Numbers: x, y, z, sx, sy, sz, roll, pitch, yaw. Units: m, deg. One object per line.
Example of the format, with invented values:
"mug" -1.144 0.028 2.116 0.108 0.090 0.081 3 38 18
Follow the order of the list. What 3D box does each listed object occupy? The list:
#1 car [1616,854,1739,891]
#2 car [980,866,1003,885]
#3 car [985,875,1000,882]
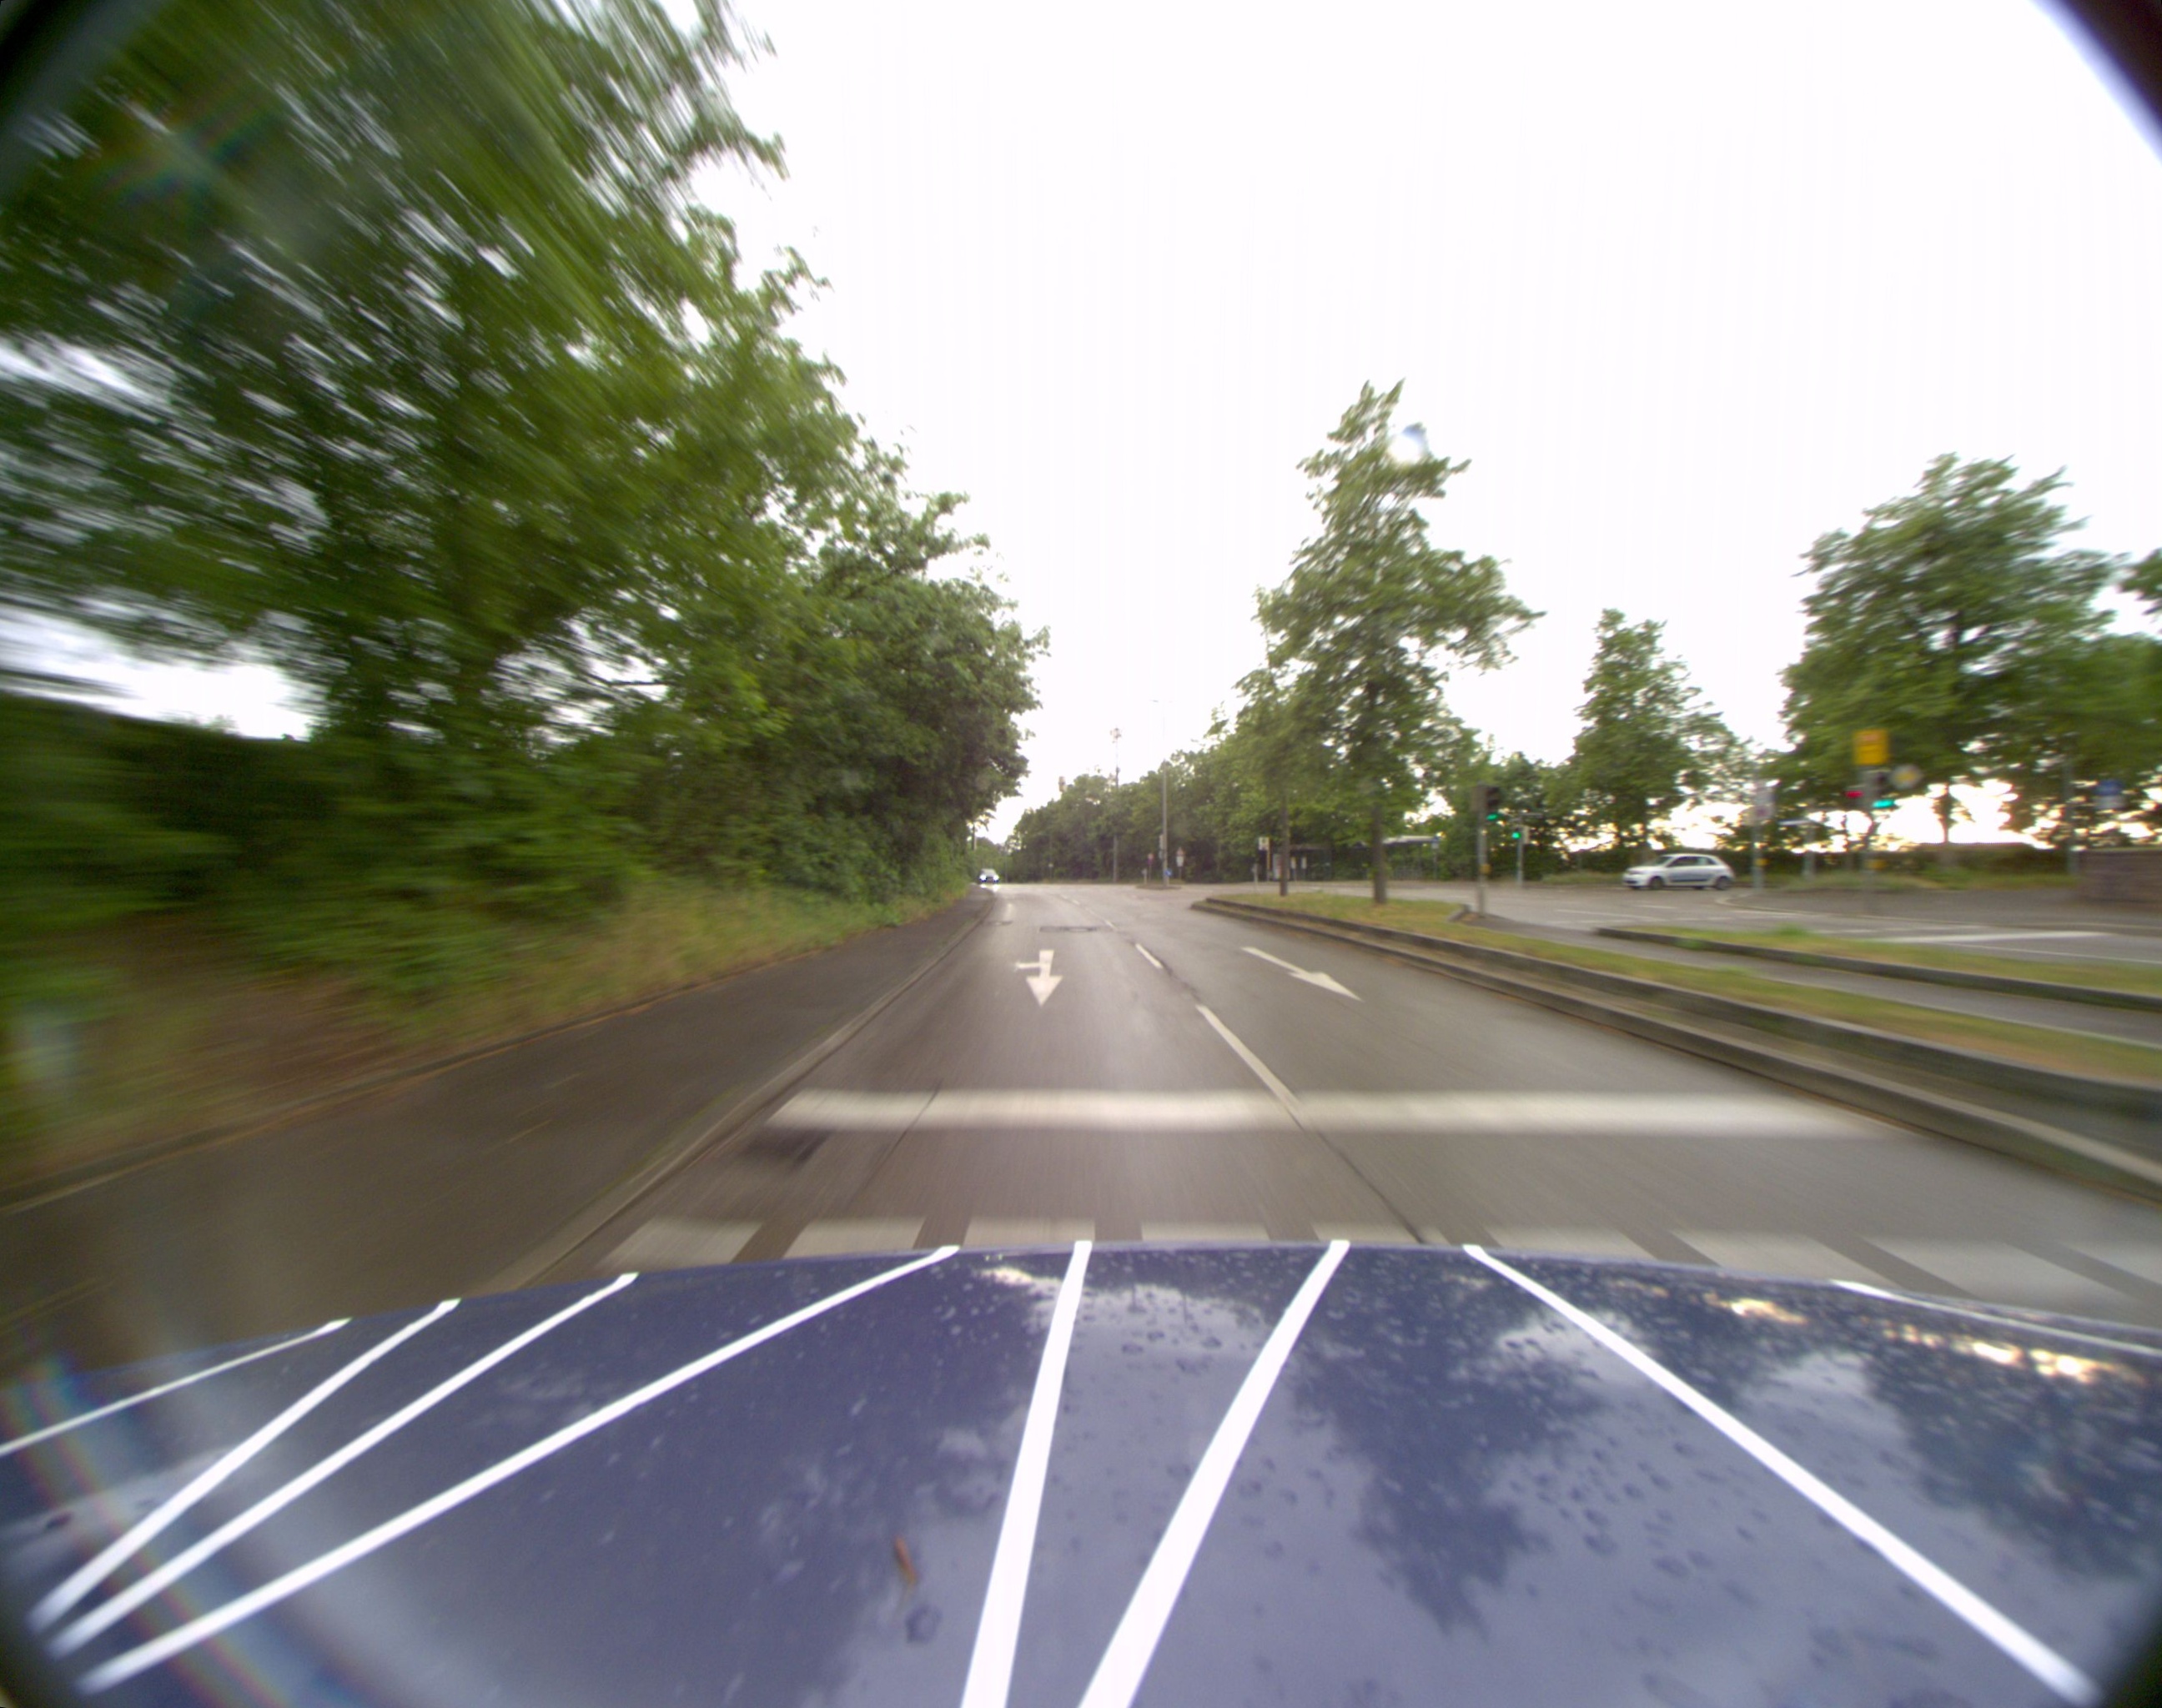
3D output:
"car" 25.242 0.793 32.277 3.691 1.469 1.763 -1 0 11
"car" -8.421 2.054 71.323 2.000 1.576 3.999 2 -3 -8
"car" -15.911 4.439 136.789 1.883 1.365 4.379 1 -2 -18
